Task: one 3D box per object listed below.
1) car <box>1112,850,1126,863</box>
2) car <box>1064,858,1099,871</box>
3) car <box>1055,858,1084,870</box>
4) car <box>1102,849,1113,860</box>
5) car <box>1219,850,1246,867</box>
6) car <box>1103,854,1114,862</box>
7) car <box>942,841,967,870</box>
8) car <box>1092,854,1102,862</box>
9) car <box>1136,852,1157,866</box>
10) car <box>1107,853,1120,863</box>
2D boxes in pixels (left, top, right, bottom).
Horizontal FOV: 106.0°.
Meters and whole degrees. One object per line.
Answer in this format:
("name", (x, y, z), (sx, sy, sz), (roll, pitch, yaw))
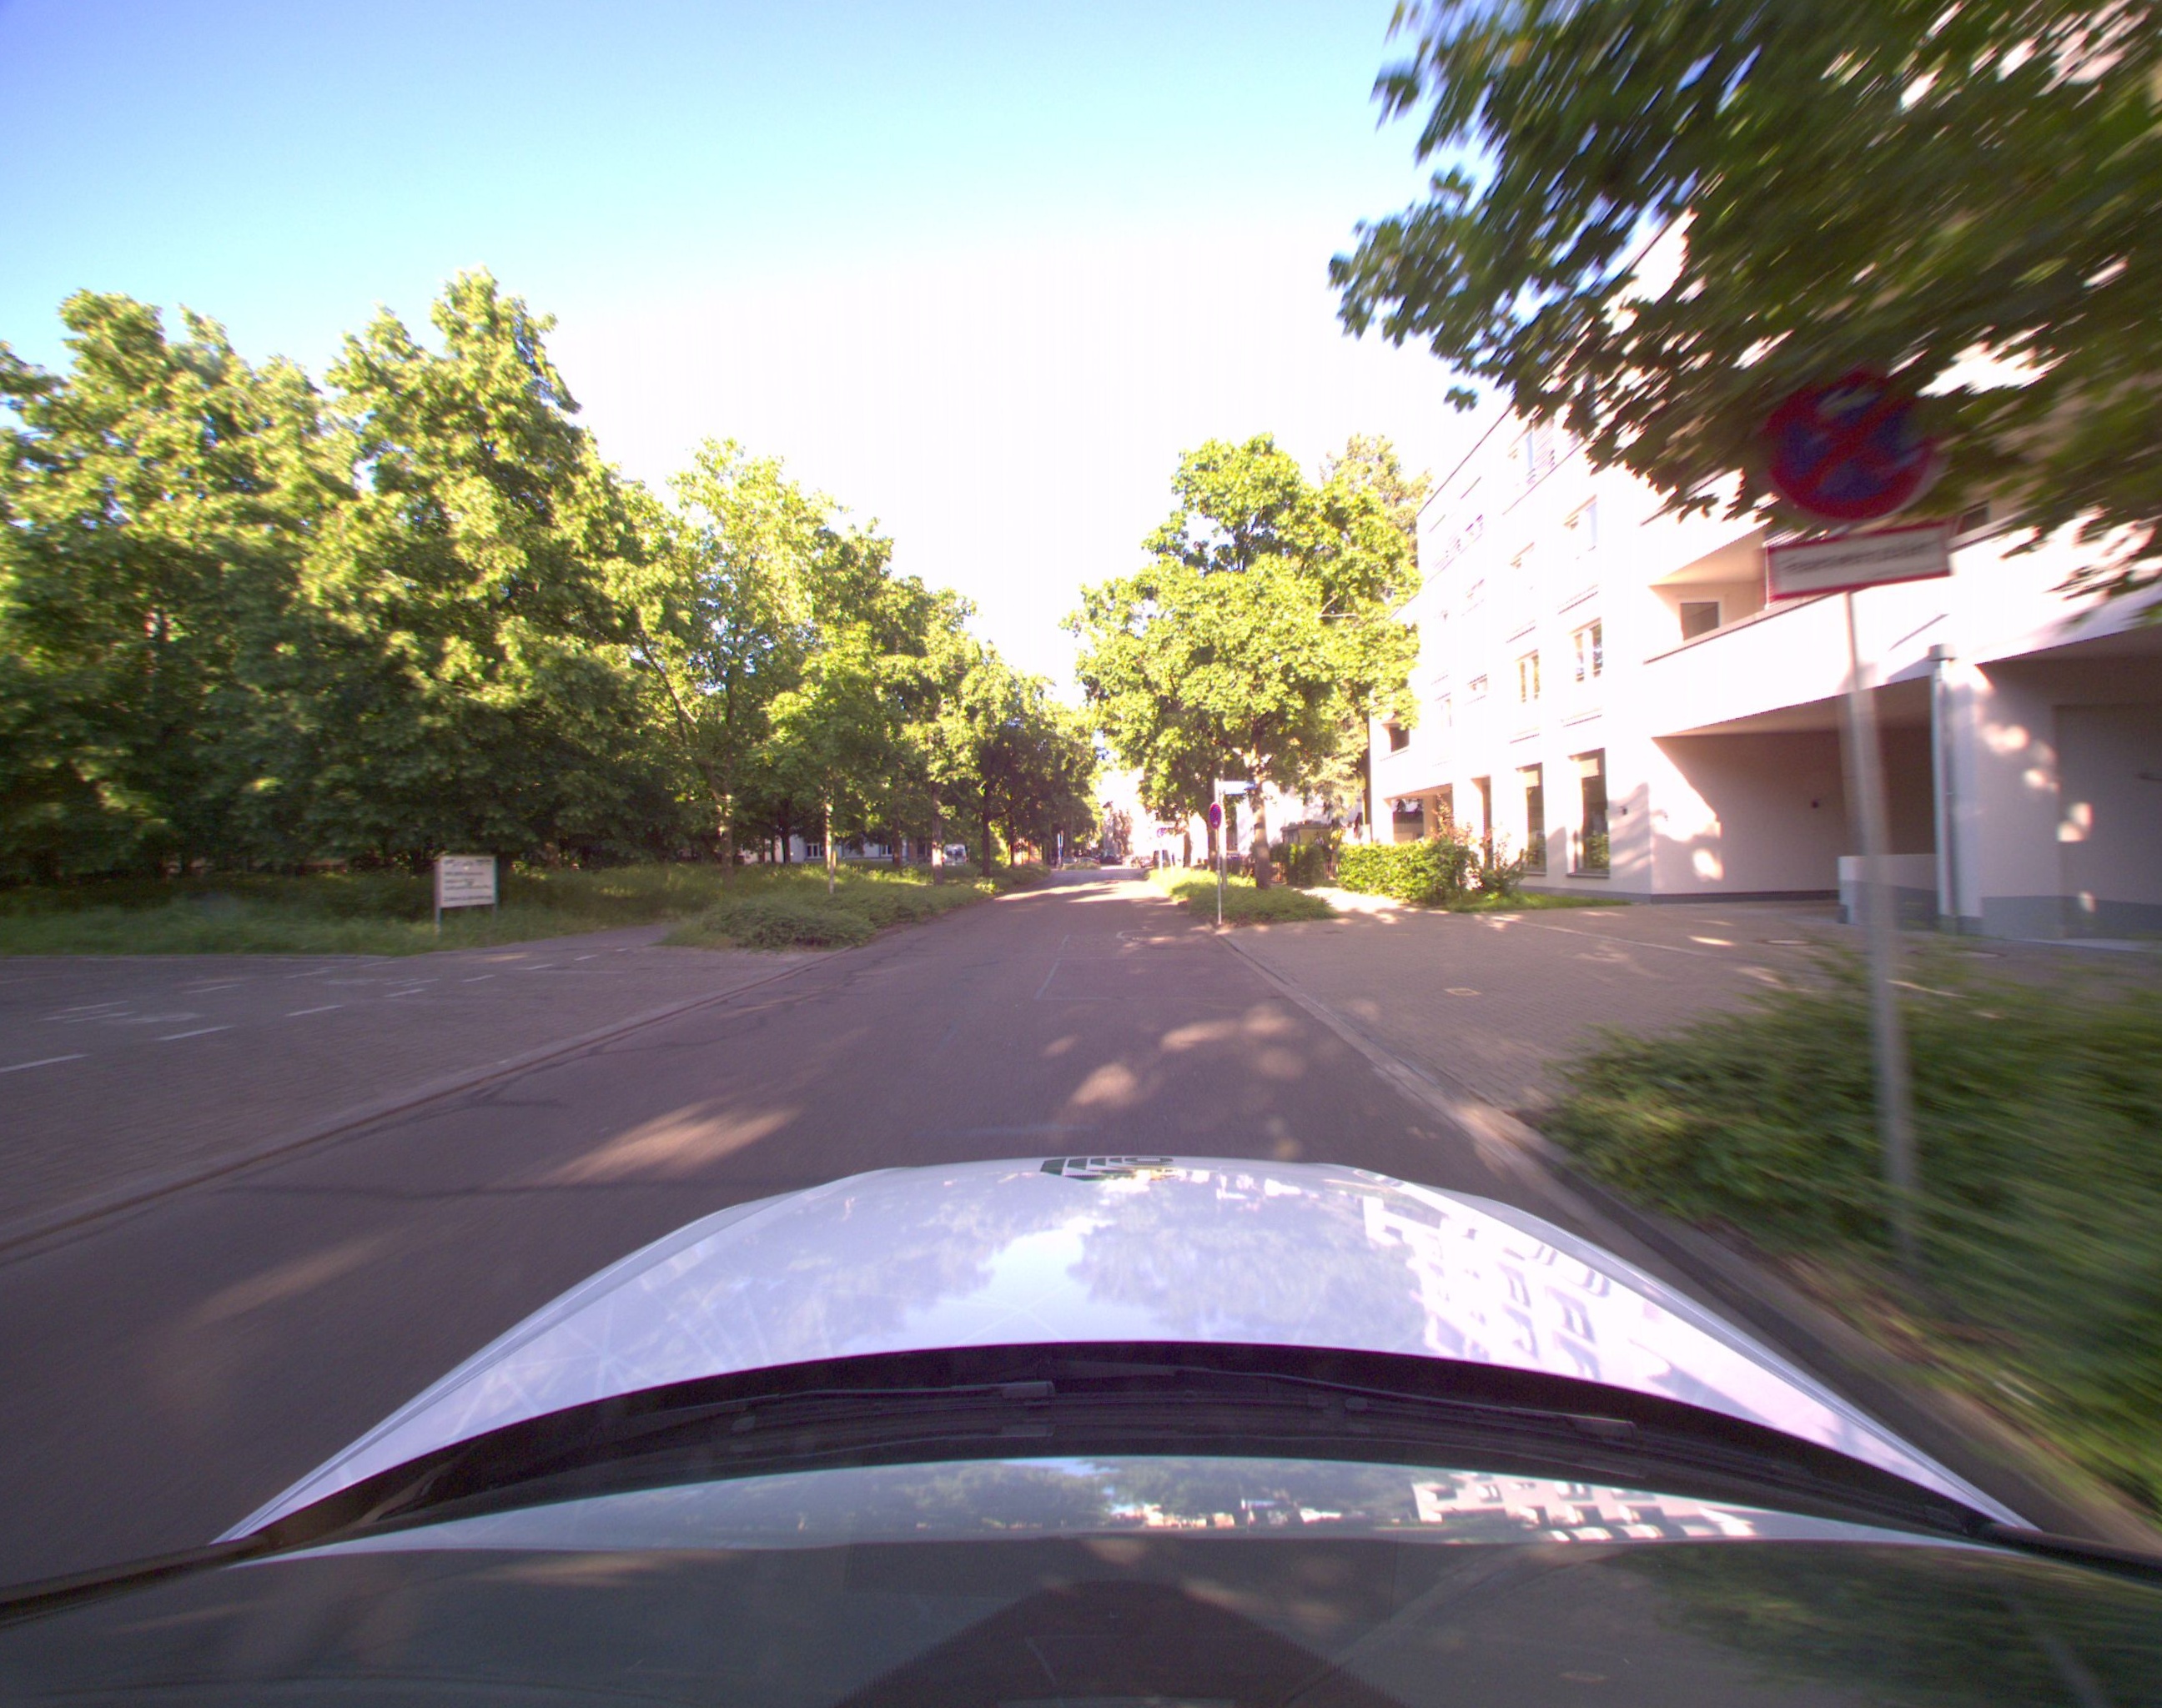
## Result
("car", (5.748, 0.410, 124.366), (1.806, 1.925, 3.998), (0, 0, -1))
("car", (0.036, 1.218, 93.617), (3.982, 1.501, 1.813), (0, 0, -6))
("car", (-1.498, 1.249, 106.148), (3.582, 1.510, 1.497), (0, 0, -6))
("car", (4.842, 0.051, 149.295), (1.806, 2.050, 3.998), (0, 0, -1))
("car", (14.013, 0.403, 75.488), (1.986, 1.585, 3.641), (0, 0, 2))
("car", (4.675, 0.670, 139.401), (1.806, 1.501, 3.998), (0, 0, -1))
("car", (-11.255, 0.118, 72.673), (1.991, 2.508, 3.991), (0, 0, -6))
("car", (3.296, 0.762, 166.327), (1.806, 1.501, 3.998), (0, 0, -1))
("car", (7.668, 0.581, 95.621), (1.808, 1.501, 3.993), (-2, 0, -5))
("car", (5.259, 0.641, 132.525), (1.806, 1.501, 3.998), (0, 0, -1))
